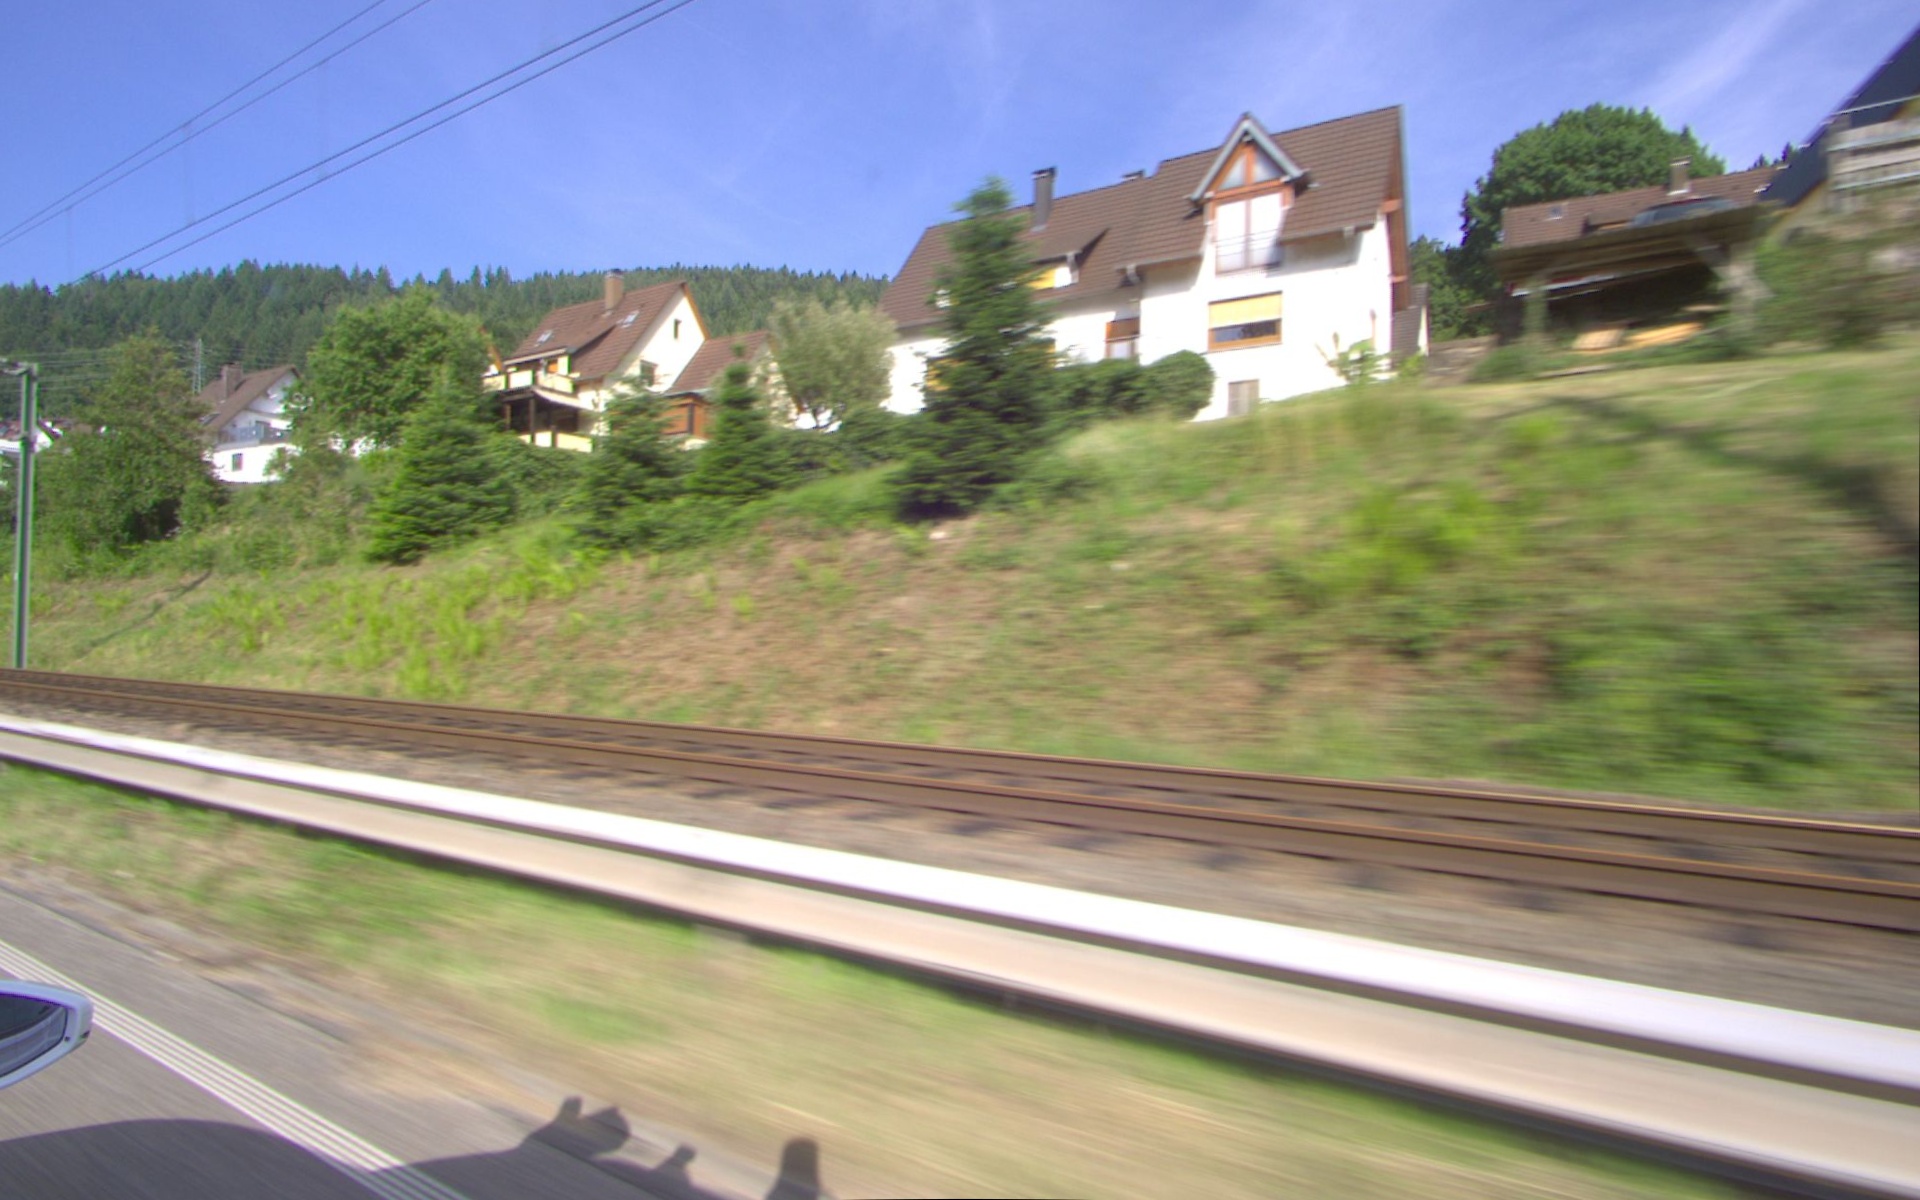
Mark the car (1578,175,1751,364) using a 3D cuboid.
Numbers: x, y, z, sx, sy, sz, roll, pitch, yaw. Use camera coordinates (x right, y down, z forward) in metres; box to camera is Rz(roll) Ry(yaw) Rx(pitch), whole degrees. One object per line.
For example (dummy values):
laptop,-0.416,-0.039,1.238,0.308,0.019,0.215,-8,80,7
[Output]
car,11.782,-5.416,17.012,1.724,1.558,3.745,-1,-5,25
